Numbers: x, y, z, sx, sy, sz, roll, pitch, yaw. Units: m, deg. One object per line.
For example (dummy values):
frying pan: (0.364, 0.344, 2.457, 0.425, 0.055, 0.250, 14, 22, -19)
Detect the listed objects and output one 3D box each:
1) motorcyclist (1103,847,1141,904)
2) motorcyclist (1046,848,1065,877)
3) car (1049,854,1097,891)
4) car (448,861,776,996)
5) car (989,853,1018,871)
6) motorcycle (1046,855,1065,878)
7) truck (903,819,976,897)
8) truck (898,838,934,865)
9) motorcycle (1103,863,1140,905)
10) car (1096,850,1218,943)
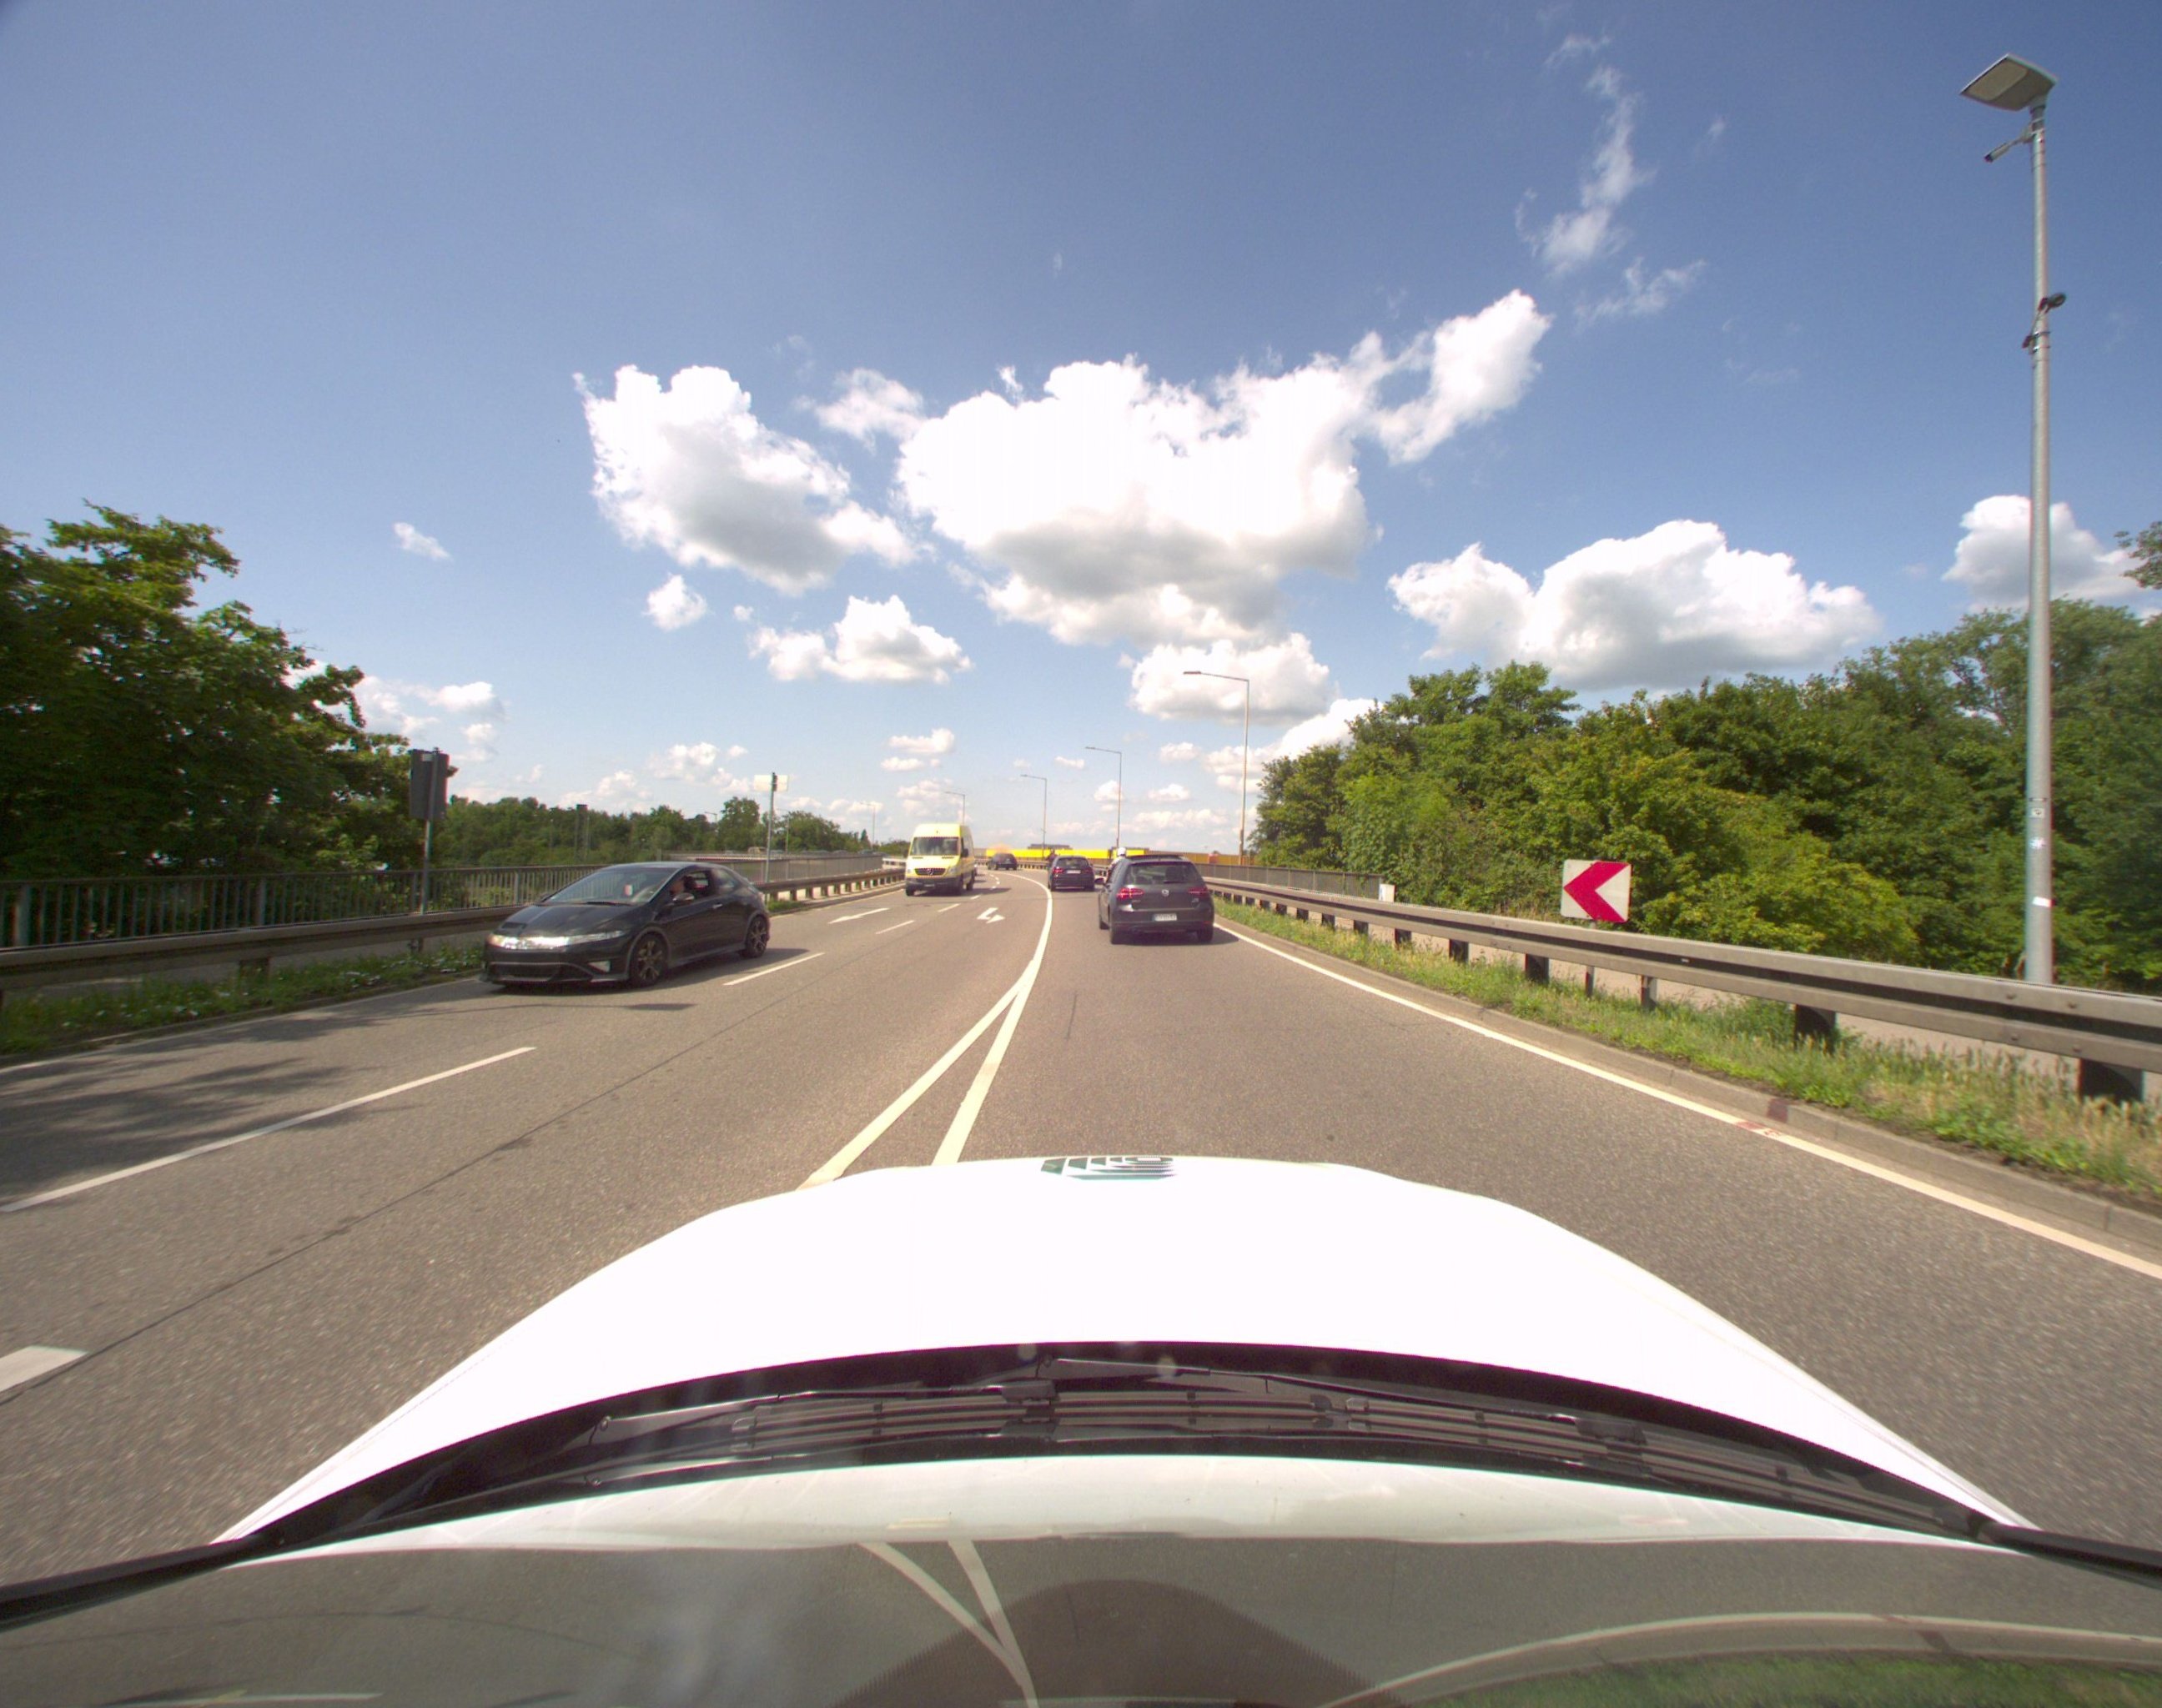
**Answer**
motorcyclist: (1.194, 0.618, 24.057, 0.964, 1.620, 1.123, 1, 0, -4)
motorcyclist: (-1.472, 0.470, 46.481, 0.965, 1.596, 1.122, 1, 0, -8)
car: (-0.376, 0.712, 32.489, 1.679, 1.388, 3.733, 0, -1, -4)
car: (-5.754, 0.813, 10.675, 1.791, 1.389, 4.010, 0, 0, 3)
car: (-6.566, 0.639, 68.755, 1.646, 1.479, 3.850, 1, 0, -17)
motorcycle: (-1.461, 0.710, 46.381, 0.886, 1.247, 2.393, 1, 0, -7)
truck: (-5.273, 0.113, 31.063, 1.989, 2.621, 6.096, -1, 0, -3)
truck: (-15.800, -0.261, 77.753, 2.003, 2.507, 5.898, 0, 0, -25)
motorcycle: (1.174, 0.840, 23.951, 0.787, 1.132, 2.395, 1, 0, -4)
car: (1.253, 0.690, 14.954, 1.639, 1.479, 3.867, 0, 0, -4)
